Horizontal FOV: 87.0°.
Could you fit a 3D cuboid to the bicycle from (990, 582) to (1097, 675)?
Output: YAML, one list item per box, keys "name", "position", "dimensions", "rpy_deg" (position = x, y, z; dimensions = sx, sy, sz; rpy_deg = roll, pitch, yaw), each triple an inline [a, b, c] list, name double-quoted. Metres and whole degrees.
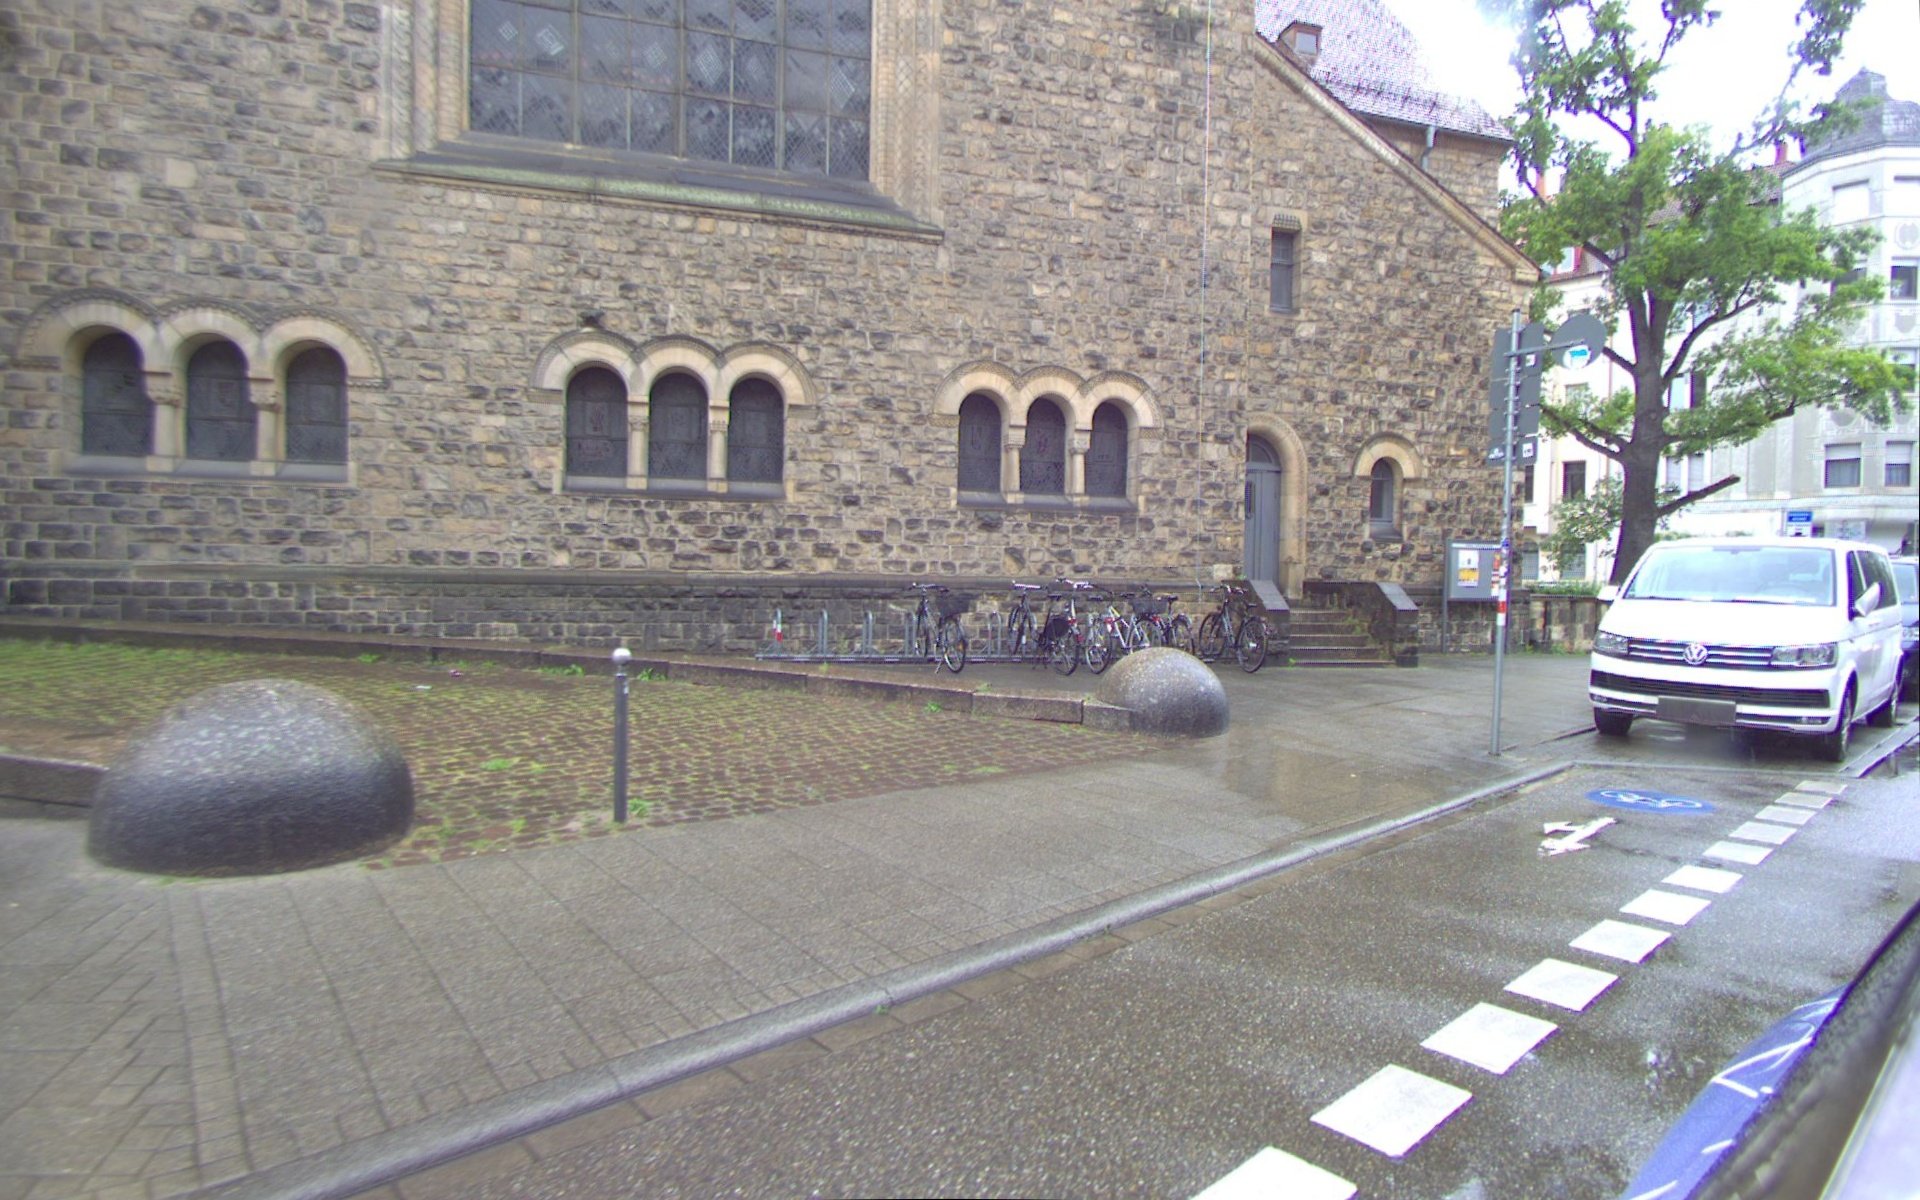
- name: "bicycle"
  position: [1.042, 0.328, 13.119]
  dimensions: [0.569, 1.073, 1.933]
  rpy_deg: [1, 2, -21]

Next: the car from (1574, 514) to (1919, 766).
- name: "car"
  position: [8.234, 0.252, 10.243]
  dimensions: [5.180, 1.946, 1.908]
  rpy_deg: [-1, 3, -41]

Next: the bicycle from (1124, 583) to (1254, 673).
- name: "bicycle"
  position: [3.045, 0.335, 13.720]
  dimensions: [0.663, 1.073, 2.161]
  rpy_deg: [1, 2, -19]

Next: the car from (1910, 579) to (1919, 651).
- name: "car"
  position: [22.893, 0.341, 22.842]
  dimensions: [3.850, 1.568, 1.674]
  rpy_deg: [-1, 3, -41]

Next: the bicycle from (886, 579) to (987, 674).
- name: "bicycle"
  position: [-0.344, 0.294, 12.909]
  dimensions: [0.564, 1.062, 2.014]
  rpy_deg: [1, 2, -23]

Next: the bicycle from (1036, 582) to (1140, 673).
- name: "bicycle"
  position: [1.660, 0.329, 13.447]
  dimensions: [0.569, 1.073, 1.933]
  rpy_deg: [1, 2, -19]

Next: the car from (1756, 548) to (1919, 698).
- name: "car"
  position: [13.121, 0.245, 14.546]
  dimensions: [4.220, 1.868, 1.836]
  rpy_deg: [0, 3, -41]

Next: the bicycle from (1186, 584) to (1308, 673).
- name: "bicycle"
  position: [3.905, 0.358, 13.952]
  dimensions: [0.593, 1.079, 1.987]
  rpy_deg: [1, 2, -18]

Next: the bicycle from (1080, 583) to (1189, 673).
- name: "bicycle"
  position: [2.292, 0.339, 13.578]
  dimensions: [0.569, 1.073, 1.933]
  rpy_deg: [1, 2, -19]
